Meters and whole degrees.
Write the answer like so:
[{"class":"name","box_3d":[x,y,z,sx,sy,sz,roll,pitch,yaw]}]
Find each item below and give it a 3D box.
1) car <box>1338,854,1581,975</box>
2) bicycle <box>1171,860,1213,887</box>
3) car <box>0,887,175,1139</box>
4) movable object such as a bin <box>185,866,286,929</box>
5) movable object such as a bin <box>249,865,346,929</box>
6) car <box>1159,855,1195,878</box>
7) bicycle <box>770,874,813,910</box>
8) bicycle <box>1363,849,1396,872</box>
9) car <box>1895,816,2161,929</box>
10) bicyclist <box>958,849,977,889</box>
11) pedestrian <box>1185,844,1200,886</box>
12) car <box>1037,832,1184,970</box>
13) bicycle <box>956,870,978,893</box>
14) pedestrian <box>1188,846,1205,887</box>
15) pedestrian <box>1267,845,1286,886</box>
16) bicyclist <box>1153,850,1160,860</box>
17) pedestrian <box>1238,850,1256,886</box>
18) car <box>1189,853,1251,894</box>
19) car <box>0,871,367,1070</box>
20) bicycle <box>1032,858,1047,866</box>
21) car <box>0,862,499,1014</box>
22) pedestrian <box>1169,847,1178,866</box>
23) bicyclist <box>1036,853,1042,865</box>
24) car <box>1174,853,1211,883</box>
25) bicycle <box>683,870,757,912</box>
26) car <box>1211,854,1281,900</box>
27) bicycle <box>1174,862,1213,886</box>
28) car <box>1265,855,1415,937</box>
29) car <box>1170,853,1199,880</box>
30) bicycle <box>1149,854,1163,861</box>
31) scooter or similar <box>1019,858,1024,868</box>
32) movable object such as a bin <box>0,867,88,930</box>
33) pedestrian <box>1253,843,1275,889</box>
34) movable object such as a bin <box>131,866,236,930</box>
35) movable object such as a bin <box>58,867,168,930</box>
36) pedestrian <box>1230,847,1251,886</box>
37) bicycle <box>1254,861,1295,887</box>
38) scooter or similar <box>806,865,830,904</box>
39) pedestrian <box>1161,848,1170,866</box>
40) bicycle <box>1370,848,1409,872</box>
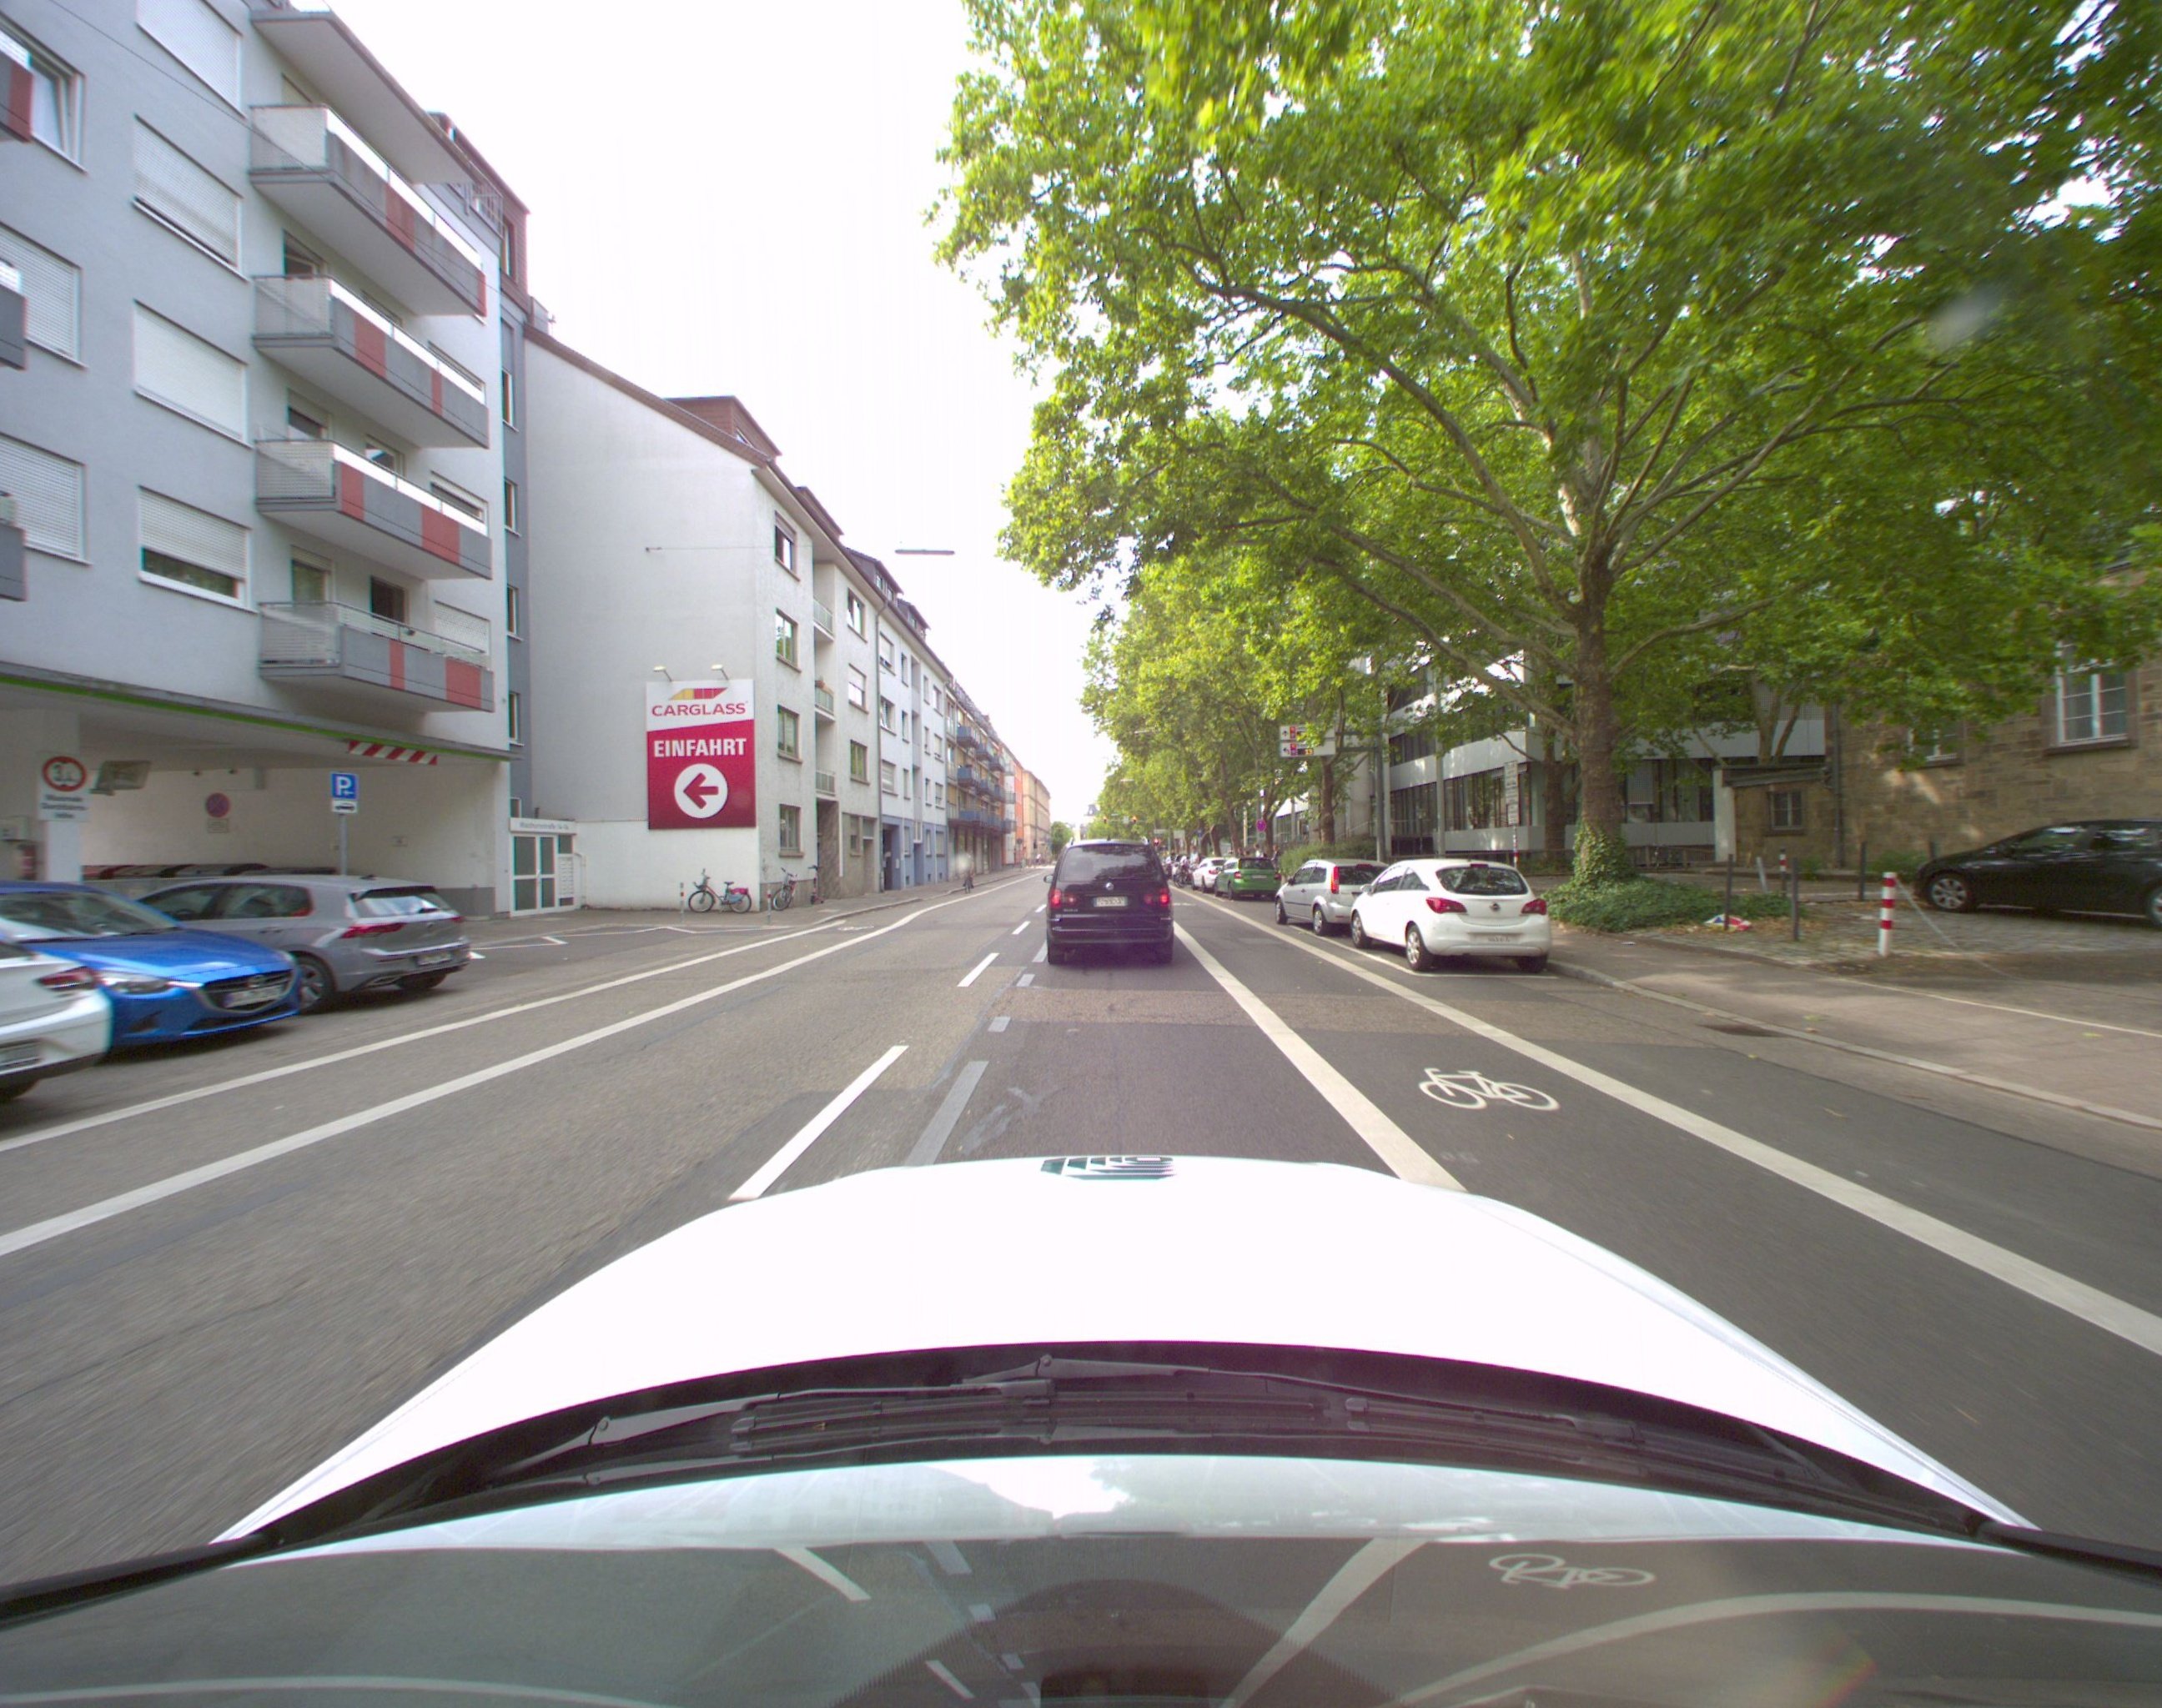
[{"class":"car","box_3d":[5.267,0.740,12.020,1.748,1.447,4.220,1,0,2]},{"class":"bicycle","box_3d":[5.031,0.874,36.937,1.793,1.217,0.550,0,0,-17]},{"class":"car","box_3d":[-8.600,0.946,4.870,4.255,1.451,1.875,1,0,1]},{"class":"movable object such as a bin","box_3d":[-19.252,0.971,18.578,1.038,1.352,1.179,-2,0,4]},{"class":"movable object such as a bin","box_3d":[-17.863,0.961,18.599,1.038,1.352,1.179,-2,0,4]},{"class":"car","box_3d":[6.040,0.775,51.850,1.693,1.425,4.419,0,0,-1]},{"class":"bicycle","box_3d":[-8.287,1.075,23.366,0.595,0.950,1.663,0,0,1]},{"class":"bicycle","box_3d":[15.088,0.314,41.194,1.441,1.117,0.468,-2,0,-3]},{"class":"car","box_3d":[14.678,0.184,11.709,1.664,1.449,4.297,-1,2,0]},{"class":"bicyclist","box_3d":[-5.268,0.709,37.838,0.649,1.811,1.046,-2,-1,1]},{"class":"pedestrian","box_3d":[5.209,0.522,37.974,0.475,1.934,0.742,0,0,-10]},{"class":"car","box_3d":[0.396,0.600,12.783,1.868,1.745,4.573,-1,0,0]},{"class":"bicycle","box_3d":[-5.250,1.256,37.717,0.644,1.014,2.077,-2,0,1]},{"class":"pedestrian","box_3d":[5.215,0.556,36.664,0.520,1.845,0.741,0,0,-14]},{"class":"pedestrian","box_3d":[8.757,0.511,36.493,0.718,1.855,0.703,0,0,1]},{"class":"bicyclist","box_3d":[10.670,0.170,115.250,0.914,1.466,0.568,0,0,-9]},{"class":"pedestrian","box_3d":[7.602,0.636,37.351,0.718,1.658,0.655,0,0,1]},{"class":"car","box_3d":[5.583,0.738,33.280,1.675,1.516,4.542,1,0,-1]},{"class":"car","box_3d":[-9.487,0.934,7.406,4.285,1.451,1.911,1,0,1]},{"class":"bicycle","box_3d":[-5.520,1.013,107.588,1.923,1.028,0.582,0,0,-8]},{"class":"car","box_3d":[-9.607,0.905,9.600,4.135,1.513,1.838,1,0,1]},{"class":"pedestrian","box_3d":[9.212,0.248,80.938,0.712,1.800,1.033,-3,-1,0]},{"class":"bicyclist","box_3d":[-5.544,0.630,107.592,0.854,1.567,0.576,0,-1,-7]},{"class":"car","box_3d":[5.823,0.729,42.842,1.522,1.502,3.661,0,0,1]},{"class":"bicycle","box_3d":[-9.670,0.990,21.841,1.765,1.117,0.453,0,0,0]},{"class":"car","box_3d":[5.635,0.750,28.241,1.582,1.450,3.804,1,0,-1]},{"class":"bicycle","box_3d":[5.293,0.939,38.241,1.735,1.105,0.550,0,0,-10]},{"class":"car","box_3d":[5.099,0.755,16.571,1.639,1.447,3.878,1,0,-3]},{"class":"car","box_3d":[6.022,0.707,47.386,1.529,1.543,2.602,0,0,4]},{"class":"bicycle","box_3d":[10.652,0.511,115.251,1.924,1.028,0.581,0,0,-9]},{"class":"scooter or similar","box_3d":[-6.931,1.038,95.131,0.376,1.184,1.390,-1,-2,1]},{"class":"movable object such as a bin","box_3d":[-23.799,1.004,18.490,1.038,1.352,1.179,-2,0,4]},{"class":"pedestrian","box_3d":[7.995,0.511,35.597,0.790,1.997,0.750,0,0,1]},{"class":"movable object such as a bin","box_3d":[-20.460,0.980,18.596,1.038,1.352,1.179,-2,0,4]},{"class":"movable object such as a bin","box_3d":[-21.995,0.991,18.535,1.038,1.352,1.179,-2,0,4]},{"class":"pedestrian","box_3d":[7.457,0.568,38.134,0.868,1.816,0.780,0,0,1]},{"class":"bicycle","box_3d":[8.753,0.910,36.898,1.767,1.132,0.461,0,0,-11]},{"class":"scooter or similar","box_3d":[-8.412,0.956,26.074,0.348,1.221,1.202,0,0,1]},{"class":"pedestrian","box_3d":[8.392,0.296,80.994,0.708,1.783,1.033,-3,-1,0]},{"class":"bicycle","box_3d":[15.220,0.307,40.185,1.671,1.117,0.603,-2,0,-6]}]
